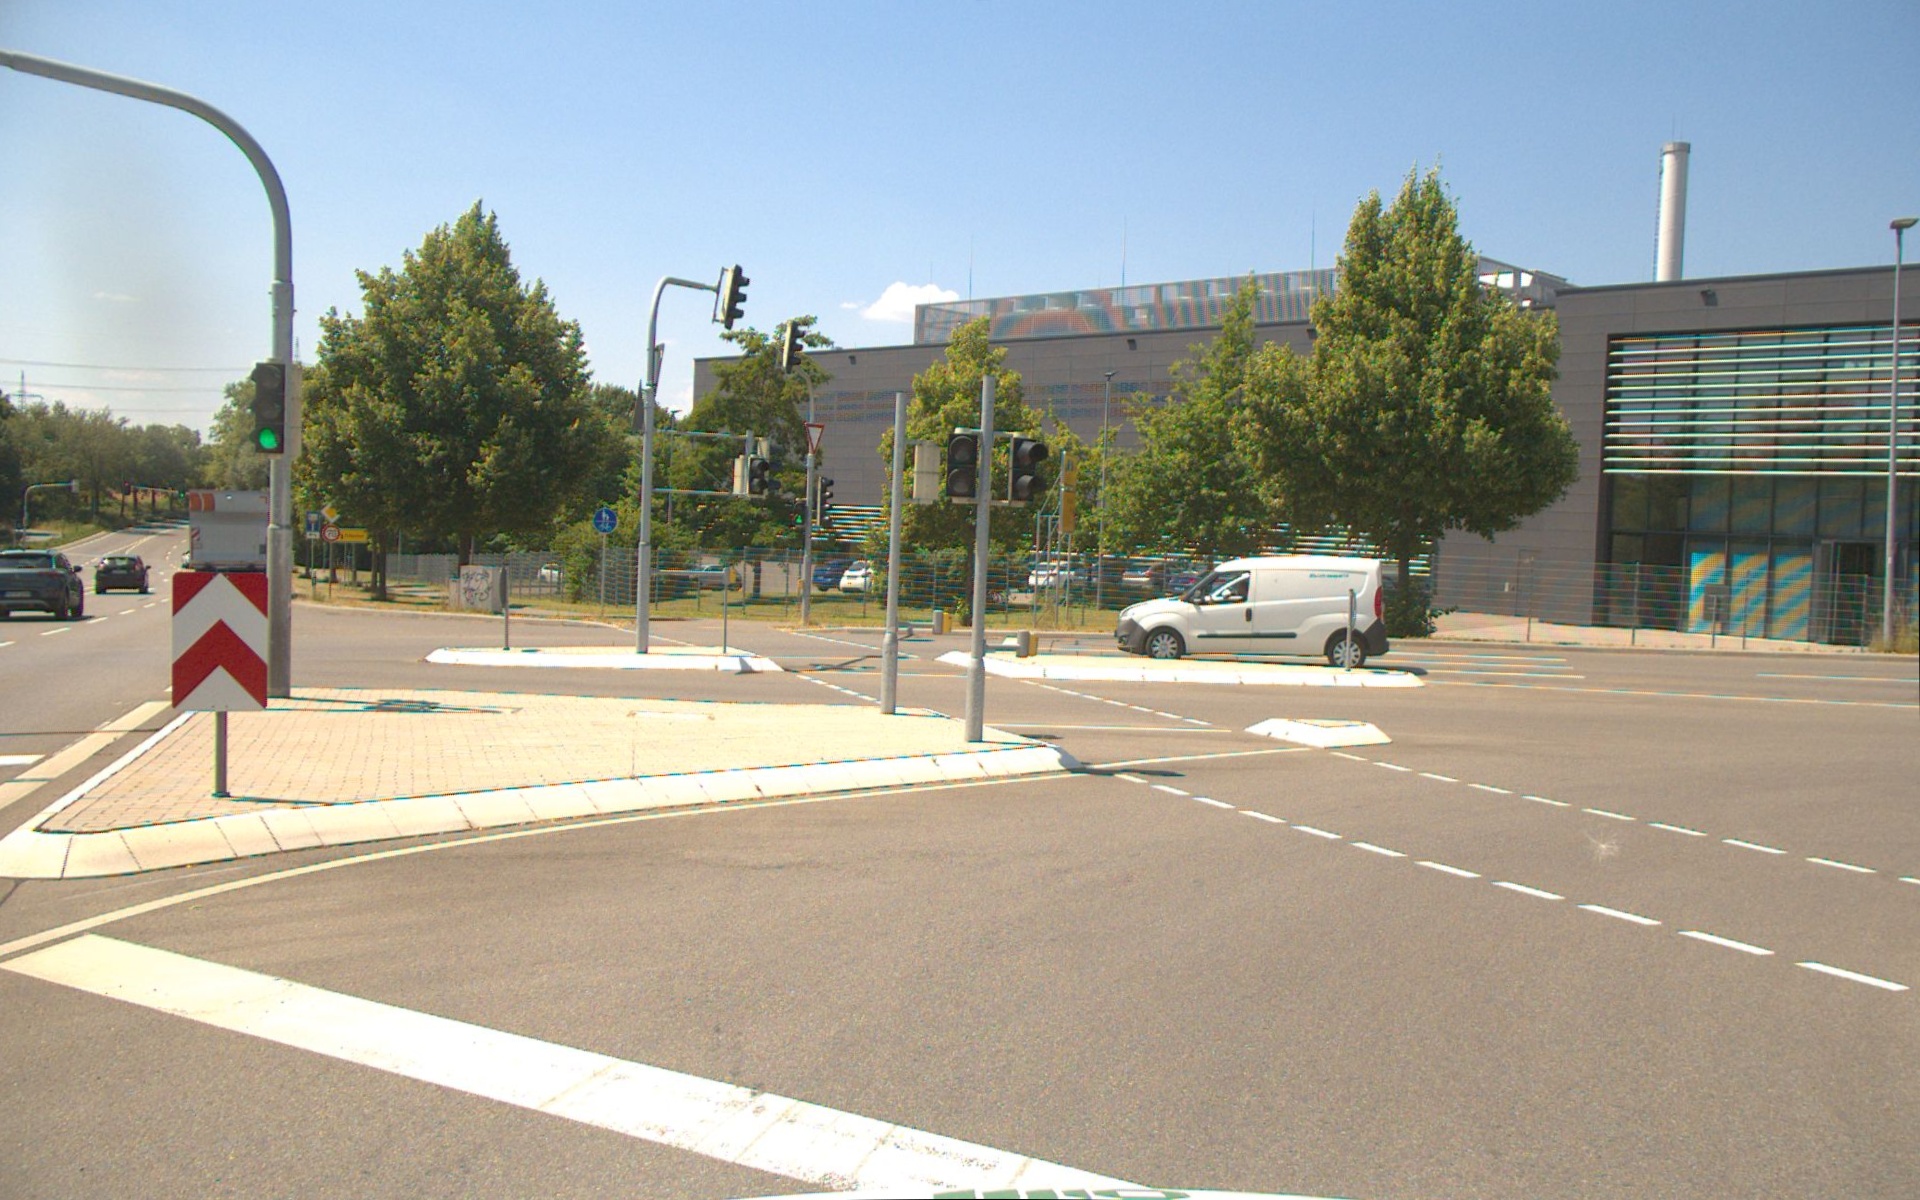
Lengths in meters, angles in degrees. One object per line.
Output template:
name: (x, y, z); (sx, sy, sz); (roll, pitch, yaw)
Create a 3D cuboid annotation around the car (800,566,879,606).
car: (-6.300, -0.726, 86.815); (1.963, 2.049, 3.979); (0, 0, 40)

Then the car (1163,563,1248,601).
car: (10.502, -0.749, 70.611); (1.786, 1.555, 3.979); (0, 0, 40)

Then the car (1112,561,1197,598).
car: (8.563, -0.887, 72.681); (1.884, 1.543, 3.979); (0, 0, 40)

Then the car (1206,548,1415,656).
car: (6.748, 0.003, 32.079); (3.770, 1.735, 2.003); (3, 6, 11)

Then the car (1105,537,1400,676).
car: (5.012, 0.058, 28.519); (4.752, 1.975, 2.003); (3, 5, 11)

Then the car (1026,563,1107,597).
car: (4.917, -0.909, 76.259); (1.739, 1.486, 3.979); (0, 0, 40)

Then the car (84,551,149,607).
car: (-32.089, -0.777, 62.989); (1.968, 2.049, 3.970); (1, 0, -24)

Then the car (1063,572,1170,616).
car: (5.650, -0.188, 59.311); (1.963, 1.512, 3.979); (0, 0, 40)

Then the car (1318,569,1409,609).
car: (15.988, -0.406, 65.383); (1.963, 1.512, 3.979); (0, 0, 40)

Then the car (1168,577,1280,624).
car: (8.852, 0.010, 55.316); (1.963, 1.512, 3.979); (0, 0, 40)

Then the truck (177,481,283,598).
truck: (-25.869, -2.036, 58.896); (3.221, 3.907, 6.160); (1, 0, -22)

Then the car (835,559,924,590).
car: (-3.223, -0.999, 66.697); (1.585, 1.185, 3.616); (0, 0, 40)

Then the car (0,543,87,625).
car: (-21.200, -0.343, 37.804); (1.968, 1.780, 3.969); (1, 0, -25)

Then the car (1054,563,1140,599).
car: (6.175, -0.840, 74.198); (1.963, 1.512, 3.979); (0, 0, 40)
